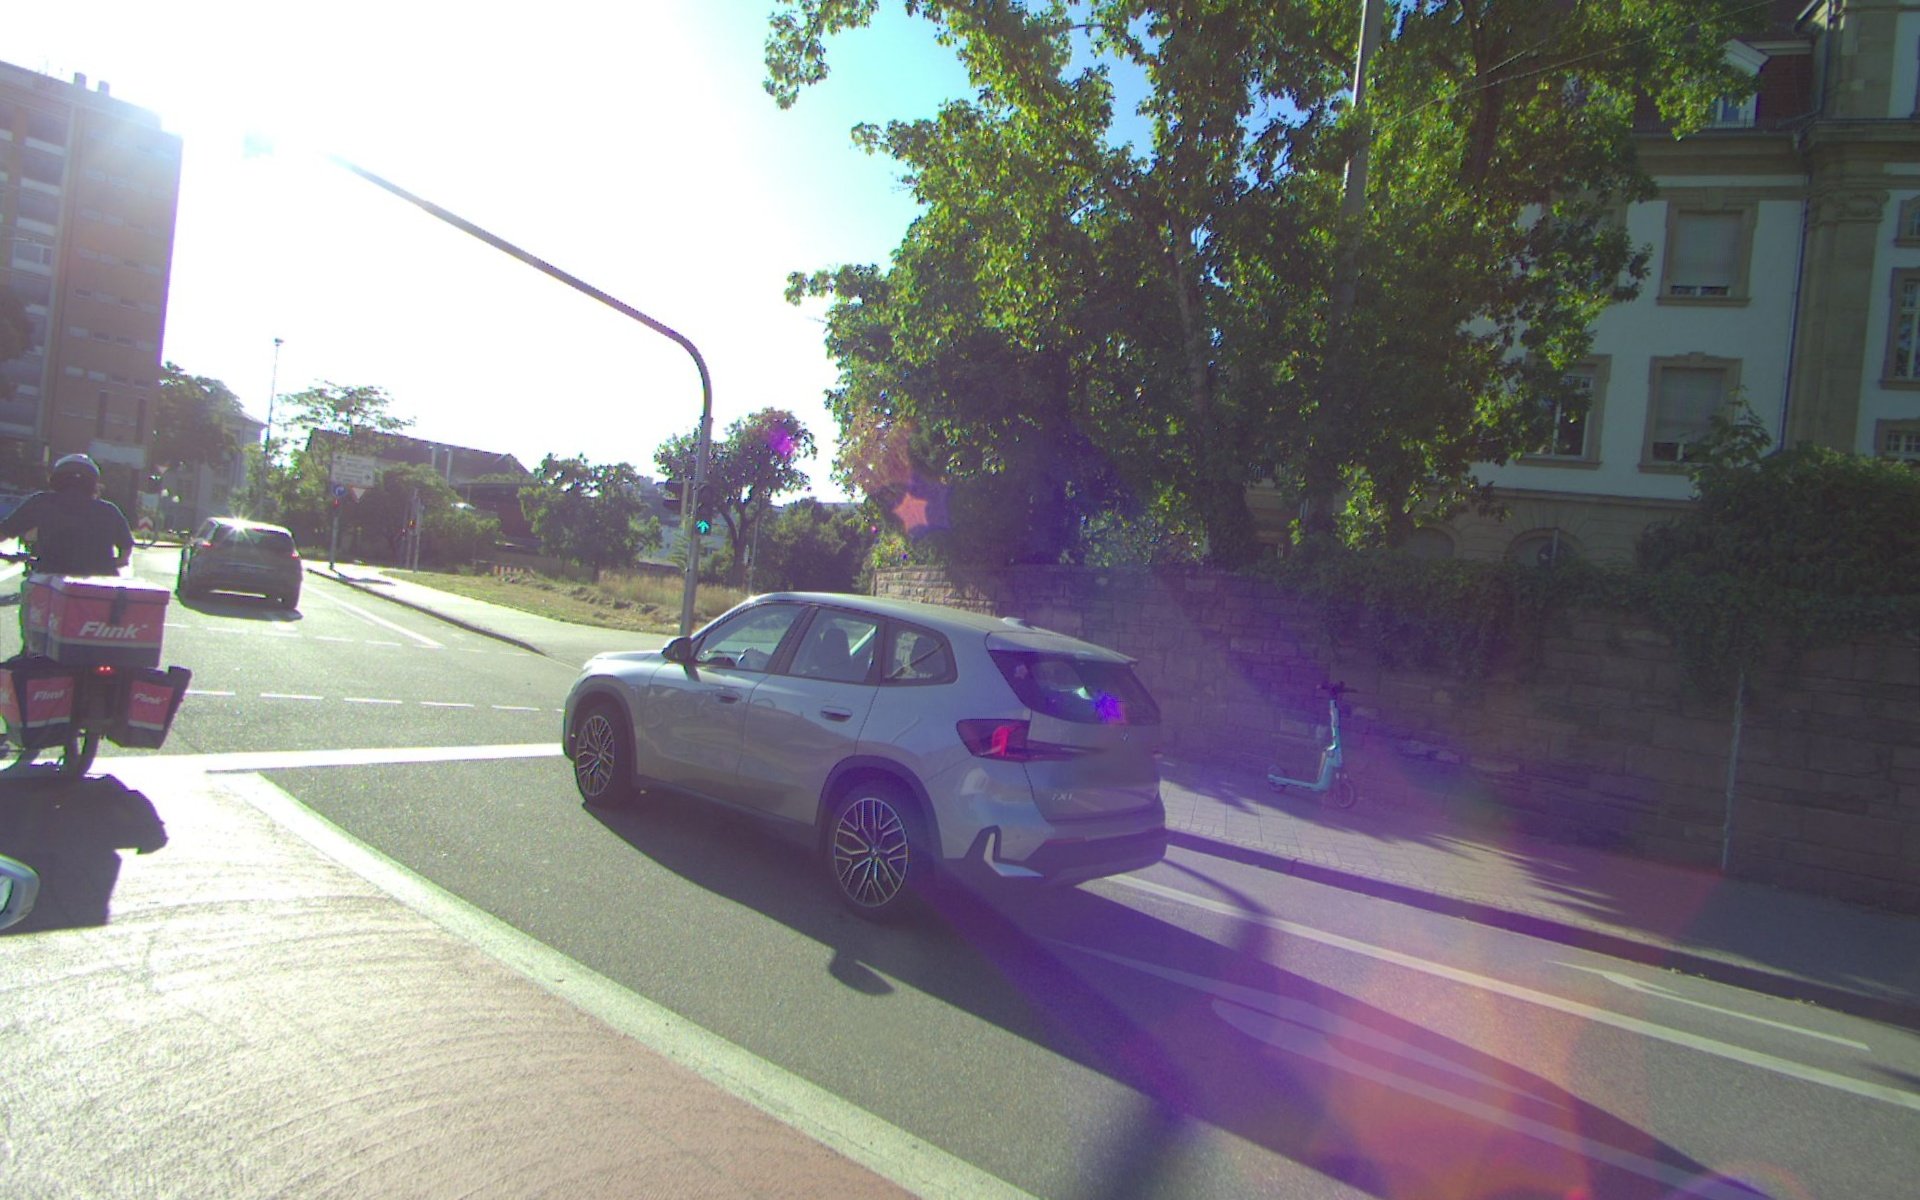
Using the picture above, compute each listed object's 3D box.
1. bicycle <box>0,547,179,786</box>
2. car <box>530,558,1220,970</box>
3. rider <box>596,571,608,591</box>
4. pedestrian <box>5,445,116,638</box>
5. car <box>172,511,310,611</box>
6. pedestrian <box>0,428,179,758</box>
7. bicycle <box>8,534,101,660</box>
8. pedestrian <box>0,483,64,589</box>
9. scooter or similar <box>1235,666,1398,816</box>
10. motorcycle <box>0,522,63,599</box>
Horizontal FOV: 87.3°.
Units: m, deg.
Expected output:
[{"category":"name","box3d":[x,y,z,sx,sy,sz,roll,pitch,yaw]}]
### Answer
[{"category":"bicycle","box3d":[-5.514,0.331,6.197,2.339,1.184,0.554,5,-2,41]},{"category":"car","box3d":[-0.780,0.757,6.452,4.268,1.612,1.786,5,-3,40]},{"category":"rider","box3d":[-30.915,-1.605,86.856,0.745,1.616,0.585,8,-2,-28]},{"category":"pedestrian","box3d":[-9.517,-0.603,10.641,0.861,1.890,0.657,5,-2,45]},{"category":"car","box3d":[-15.351,-0.835,21.390,1.825,1.708,4.319,9,-3,-41]},{"category":"pedestrian","box3d":[-5.674,-0.027,6.339,0.942,1.890,0.806,6,-2,39]},{"category":"bicycle","box3d":[-9.569,-0.066,10.610,0.562,1.164,1.926,8,-2,-44]},{"category":"pedestrian","box3d":[-15.148,-1.039,16.414,0.586,1.616,1.012,8,-2,-45]},{"category":"scooter or similar","box3d":[3.628,1.415,10.341,0.570,1.285,1.412,6,0,-32]},{"category":"motorcycle","box3d":[-15.220,-0.670,16.436,0.612,1.110,2.331,8,-3,-45]}]
